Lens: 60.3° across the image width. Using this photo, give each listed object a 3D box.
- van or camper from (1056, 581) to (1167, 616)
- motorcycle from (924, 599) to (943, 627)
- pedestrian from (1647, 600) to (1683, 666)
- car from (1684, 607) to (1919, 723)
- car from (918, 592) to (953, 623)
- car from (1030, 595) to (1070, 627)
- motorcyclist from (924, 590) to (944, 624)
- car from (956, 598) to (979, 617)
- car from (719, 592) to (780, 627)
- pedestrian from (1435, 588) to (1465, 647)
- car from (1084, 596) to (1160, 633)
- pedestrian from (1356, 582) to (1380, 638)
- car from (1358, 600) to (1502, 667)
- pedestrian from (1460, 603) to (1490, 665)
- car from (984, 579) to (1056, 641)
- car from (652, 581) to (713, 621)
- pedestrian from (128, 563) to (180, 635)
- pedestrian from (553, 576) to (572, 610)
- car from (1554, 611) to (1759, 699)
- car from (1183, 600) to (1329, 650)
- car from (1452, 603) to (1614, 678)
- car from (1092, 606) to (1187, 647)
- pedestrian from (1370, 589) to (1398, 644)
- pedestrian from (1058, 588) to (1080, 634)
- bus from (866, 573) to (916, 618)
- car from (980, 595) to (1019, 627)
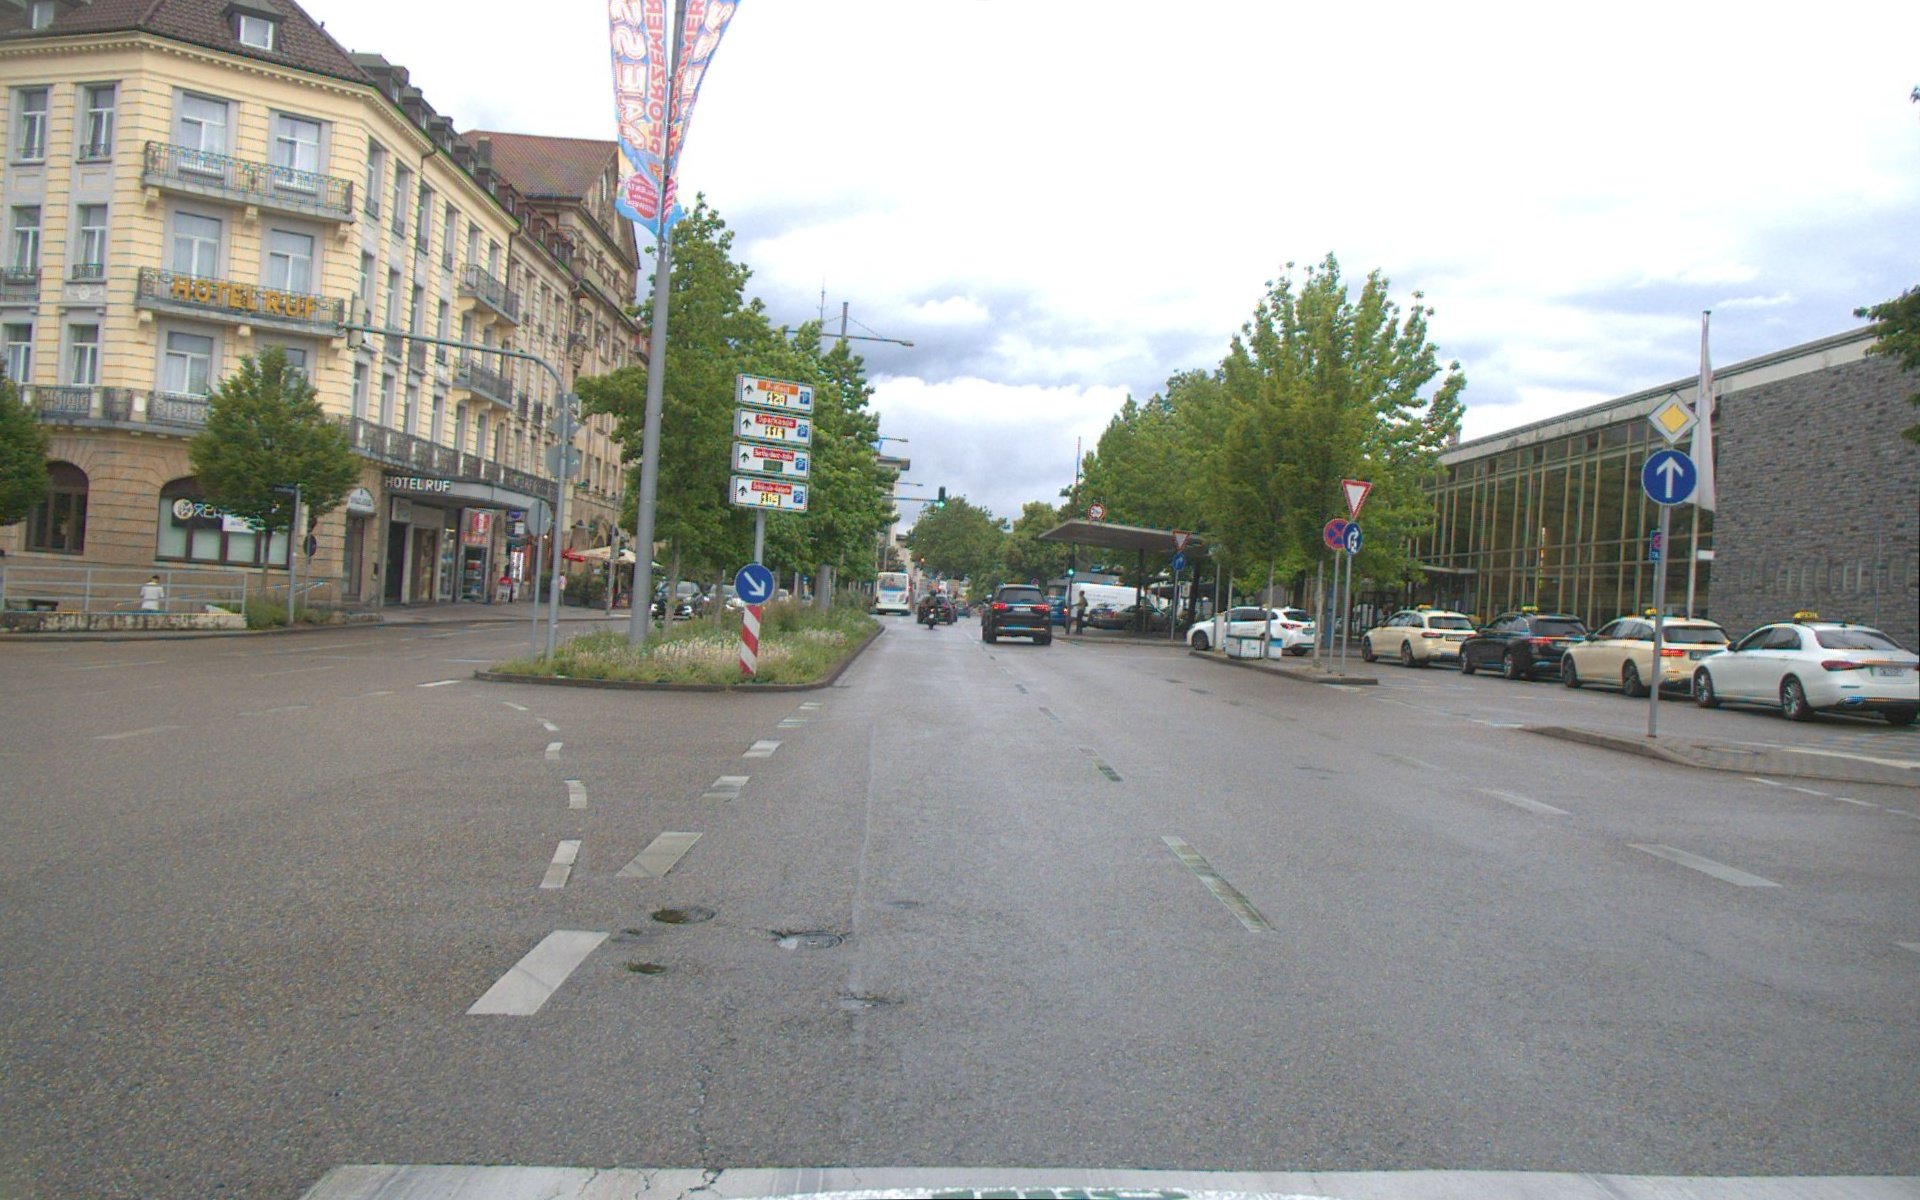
[{"bbox_3d":[9.471,-0.082,103.010,6.675,2.049,2.364,1,-1,-27],"label":"van or camper"},{"bbox_3d":[-1.065,0.508,66.996,0.750,1.095,2.175,2,0,-1],"label":"motorcycle"},{"bbox_3d":[18.285,0.852,42.907,0.553,1.675,0.715,1,0,-6],"label":"pedestrian"},{"bbox_3d":[13.369,0.948,26.065,1.739,1.617,4.614,1,0,-2],"label":"car"},{"bbox_3d":[-1.213,0.372,82.574,1.673,1.473,3.999,1,0,-1],"label":"car"},{"bbox_3d":[4.623,0.546,85.463,1.779,1.557,3.999,1,0,-1],"label":"car"},{"bbox_3d":[-1.062,0.282,67.012,0.749,1.355,0.866,2,0,-1],"label":"motorcyclist"},{"bbox_3d":[0.559,0.580,130.276,1.673,1.500,3.999,1,0,-1],"label":"car"},{"bbox_3d":[-8.797,0.387,69.472,1.688,1.406,4.861,1,0,2],"label":"car"},{"bbox_3d":[17.338,0.617,58.536,0.754,2.049,0.828,1,0,-3],"label":"pedestrian"},{"bbox_3d":[9.470,0.850,96.783,3.929,2.049,1.988,2,0,-21],"label":"car"},{"bbox_3d":[18.217,0.434,73.913,0.825,2.453,0.862,1,0,1],"label":"pedestrian"},{"bbox_3d":[12.550,0.852,44.479,1.956,1.628,4.814,1,0,-8],"label":"car"},{"bbox_3d":[14.827,0.972,47.617,0.553,1.739,0.715,2,0,-6],"label":"pedestrian"},{"bbox_3d":[1.831,0.287,51.869,1.953,1.837,4.689,1,0,-1],"label":"car"},{"bbox_3d":[-11.518,0.034,68.850,1.734,1.557,4.079,1,0,1],"label":"car"},{"bbox_3d":[-21.786,-0.023,44.739,0.845,1.911,1.022,2,0,-1],"label":"pedestrian"},{"bbox_3d":[-17.875,-0.317,74.315,0.656,1.537,0.512,2,0,-39],"label":"pedestrian"},{"bbox_3d":[13.240,0.991,31.782,1.809,1.477,4.664,1,0,-2],"label":"car"},{"bbox_3d":[9.106,0.743,51.206,1.764,1.409,4.303,1,0,-41],"label":"car"},{"bbox_3d":[13.050,0.886,38.002,1.875,1.551,4.740,1,0,-3],"label":"car"},{"bbox_3d":[8.944,1.306,82.398,4.273,1.890,1.988,2,0,-21],"label":"car"},{"bbox_3d":[15.964,0.616,62.254,0.754,2.049,0.828,1,0,-3],"label":"pedestrian"},{"bbox_3d":[4.391,0.446,66.625,0.705,1.822,0.663,2,0,-12],"label":"pedestrian"},{"bbox_3d":[-5.702,-0.365,133.193,3.686,3.265,15.515,1,0,-3],"label":"bus"},{"bbox_3d":[2.014,0.551,84.692,1.813,1.594,3.999,1,0,-1],"label":"car"}]
